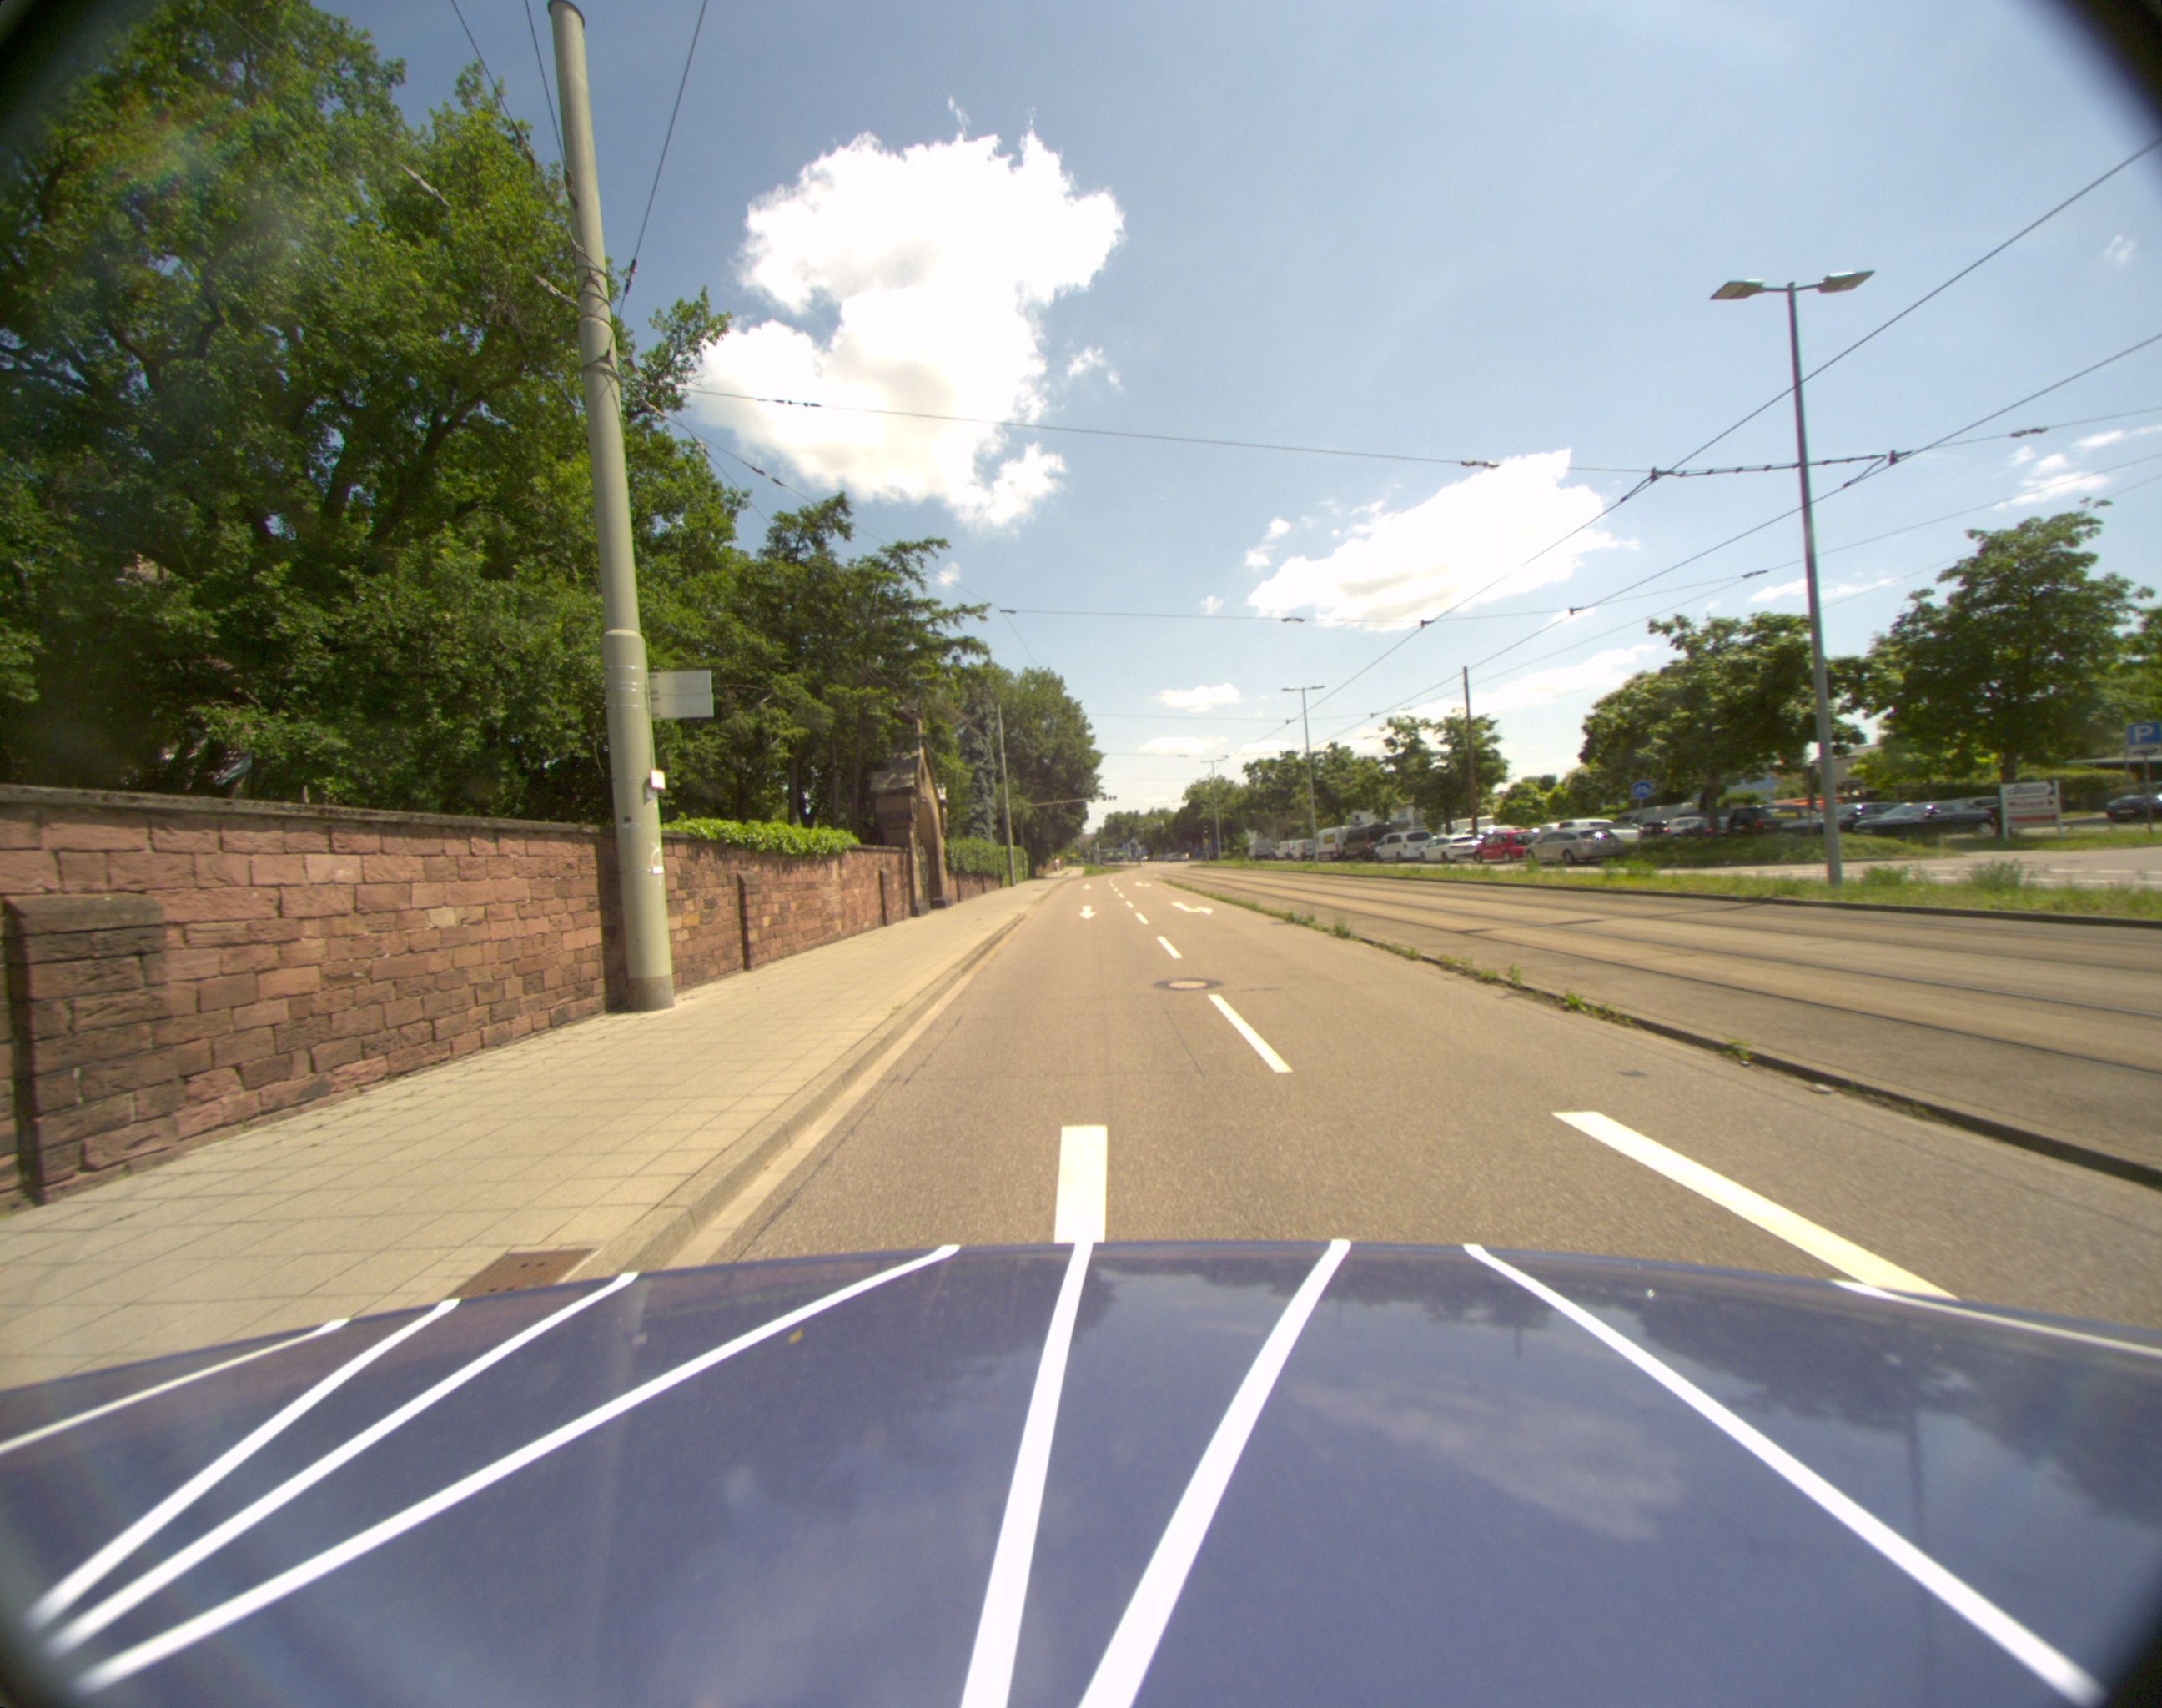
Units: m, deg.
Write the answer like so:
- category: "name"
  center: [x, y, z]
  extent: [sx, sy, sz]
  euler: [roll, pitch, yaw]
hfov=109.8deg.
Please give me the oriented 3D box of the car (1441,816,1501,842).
- category: "car"
  center: [45.238, -2.876, 88.104]
  extent: [5.698, 2.467, 2.259]
  euler: [-4, 0, -2]

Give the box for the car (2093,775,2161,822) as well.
- category: "car"
  center: [43.204, -2.232, 29.942]
  extent: [3.996, 1.726, 1.803]
  euler: [-2, 1, 4]

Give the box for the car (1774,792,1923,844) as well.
- category: "car"
  center: [30.513, -1.386, 30.312]
  extent: [3.997, 1.726, 1.803]
  euler: [-4, 0, 1]

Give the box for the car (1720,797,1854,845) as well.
- category: "car"
  center: [30.662, -1.419, 33.098]
  extent: [3.997, 1.726, 1.879]
  euler: [-4, 0, 1]

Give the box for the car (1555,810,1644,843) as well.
- category: "car"
  center: [31.484, -1.652, 46.189]
  extent: [3.997, 1.726, 1.903]
  euler: [-4, 0, 1]

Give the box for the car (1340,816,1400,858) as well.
- category: "car"
  center: [20.377, -1.159, 53.861]
  extent: [2.156, 2.596, 5.033]
  euler: [-6, 1, 1]

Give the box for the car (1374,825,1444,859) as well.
- category: "car"
  center: [20.487, -0.762, 47.733]
  extent: [2.156, 1.827, 4.888]
  euler: [-6, 1, 1]

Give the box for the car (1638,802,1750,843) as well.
- category: "car"
  center: [30.548, -1.560, 37.958]
  extent: [3.997, 1.726, 1.803]
  euler: [-4, 0, 1]

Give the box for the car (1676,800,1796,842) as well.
- category: "car"
  center: [30.569, -1.508, 35.555]
  extent: [3.996, 1.726, 1.803]
  euler: [-2, 1, 1]

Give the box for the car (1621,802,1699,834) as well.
- category: "car"
  center: [44.627, -2.753, 58.641]
  extent: [4.652, 2.212, 1.851]
  euler: [-2, 1, -2]

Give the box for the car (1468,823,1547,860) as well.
- category: "car"
  center: [20.438, -0.576, 36.535]
  extent: [1.503, 1.531, 3.648]
  euler: [-6, 1, -2]

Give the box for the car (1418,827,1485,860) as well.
- category: "car"
  center: [19.985, -0.566, 41.214]
  extent: [1.503, 1.531, 4.359]
  euler: [-6, 1, 2]

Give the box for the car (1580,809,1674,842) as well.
- category: "car"
  center: [31.194, -1.608, 43.480]
  extent: [3.996, 1.726, 1.803]
  euler: [-2, 1, 1]

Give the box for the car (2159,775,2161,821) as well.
- category: "car"
  center: [42.837, -2.200, 27.833]
  extent: [3.996, 1.726, 1.721]
  euler: [-2, 1, 4]

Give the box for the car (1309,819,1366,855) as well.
- category: "car"
  center: [20.795, -1.324, 61.981]
  extent: [2.156, 2.596, 6.703]
  euler: [-6, 1, 0]

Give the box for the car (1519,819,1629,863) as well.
- category: "car"
  center: [20.226, -0.519, 31.422]
  extent: [1.580, 1.531, 4.551]
  euler: [-6, 1, 2]

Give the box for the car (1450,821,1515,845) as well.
- category: "car"
  center: [31.755, -1.650, 60.147]
  extent: [4.199, 1.726, 1.803]
  euler: [-2, 1, 1]

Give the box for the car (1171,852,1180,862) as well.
- category: "car"
  center: [17.197, 0.550, 138.406]
  extent: [1.681, 1.680, 3.547]
  euler: [-2, 1, 7]

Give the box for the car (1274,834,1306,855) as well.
- category: "car"
  center: [21.221, -0.930, 77.295]
  extent: [1.795, 1.927, 4.488]
  euler: [-6, 1, -1]

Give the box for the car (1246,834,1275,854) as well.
- category: "car"
  center: [21.168, -1.215, 89.777]
  extent: [2.071, 2.089, 4.488]
  euler: [-6, 1, -1]

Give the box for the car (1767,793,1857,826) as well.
- category: "car"
  center: [43.750, -2.669, 45.543]
  extent: [3.745, 1.726, 1.760]
  euler: [-2, 1, -2]

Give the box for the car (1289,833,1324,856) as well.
- category: "car"
  center: [20.950, -0.870, 70.700]
  extent: [1.794, 1.927, 4.648]
  euler: [-6, 1, 1]

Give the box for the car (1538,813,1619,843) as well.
- category: "car"
  center: [31.951, -1.670, 48.883]
  extent: [3.996, 1.726, 1.803]
  euler: [-2, 1, 1]
